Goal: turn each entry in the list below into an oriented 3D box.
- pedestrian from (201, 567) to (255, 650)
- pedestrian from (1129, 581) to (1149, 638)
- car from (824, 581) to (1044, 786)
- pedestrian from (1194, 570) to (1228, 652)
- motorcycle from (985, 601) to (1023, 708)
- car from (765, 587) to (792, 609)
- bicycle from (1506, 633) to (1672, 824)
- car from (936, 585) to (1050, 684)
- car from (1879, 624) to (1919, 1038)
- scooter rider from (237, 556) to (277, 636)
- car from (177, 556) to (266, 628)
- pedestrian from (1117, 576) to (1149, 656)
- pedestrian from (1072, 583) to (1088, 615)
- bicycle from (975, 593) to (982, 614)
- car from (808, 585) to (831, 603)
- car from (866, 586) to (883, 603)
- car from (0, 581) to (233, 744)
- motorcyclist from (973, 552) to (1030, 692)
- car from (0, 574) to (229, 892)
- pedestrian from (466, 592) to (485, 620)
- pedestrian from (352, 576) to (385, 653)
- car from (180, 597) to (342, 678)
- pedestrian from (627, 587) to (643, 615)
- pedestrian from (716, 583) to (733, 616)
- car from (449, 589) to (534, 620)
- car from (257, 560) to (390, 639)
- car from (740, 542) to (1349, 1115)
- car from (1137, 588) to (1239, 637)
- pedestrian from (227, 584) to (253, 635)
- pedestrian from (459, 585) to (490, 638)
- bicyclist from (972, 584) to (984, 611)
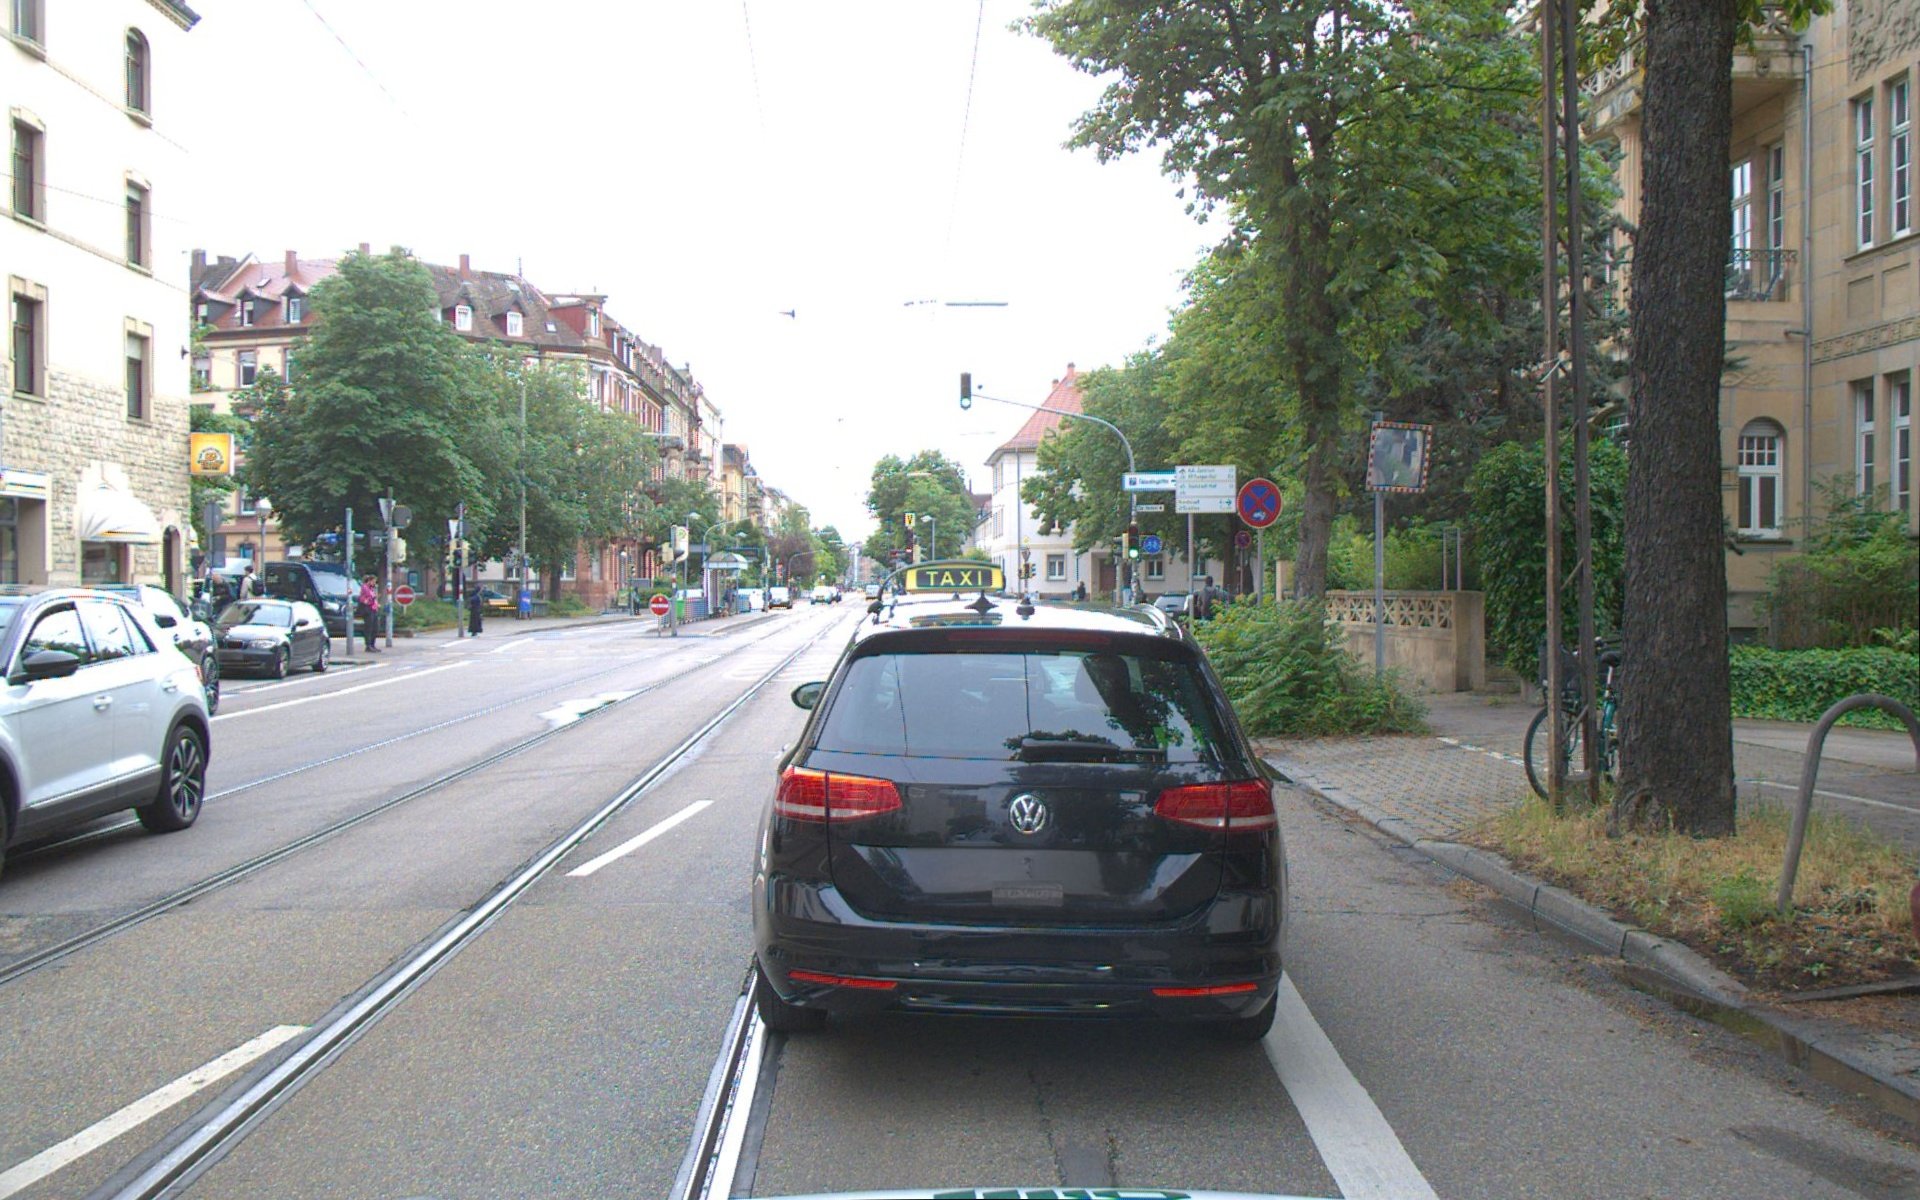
[{"bbox_3d":[-18.199,0.204,41.116,0.954,2.049,0.835,-1,0,-3],"label":"pedestrian"},{"bbox_3d":[5.935,0.306,54.780,0.504,1.862,0.418,-3,0,-2],"label":"pedestrian"},{"bbox_3d":[-0.280,0.623,14.708,1.689,1.573,3.998,0,0,-3],"label":"car"},{"bbox_3d":[5.709,0.239,37.659,0.619,1.846,0.725,0,0,-5],"label":"pedestrian"},{"bbox_3d":[0.542,0.656,20.762,0.437,1.257,1.907,0,0,1],"label":"motorcycle"},{"bbox_3d":[-12.861,-0.164,117.222,1.687,1.490,3.861,-1,0,-3],"label":"car"},{"bbox_3d":[4.409,0.843,11.511,0.425,1.219,1.892,0,-1,42],"label":"bicycle"},{"bbox_3d":[0.502,0.527,28.208,1.689,1.573,3.998,0,0,-3],"label":"car"},{"bbox_3d":[4.161,0.790,3.802,1.570,1.423,4.225,-2,1,-3],"label":"car"},{"bbox_3d":[-18.137,-0.101,42.704,0.740,2.049,0.644,0,0,-1],"label":"scooter rider"},{"bbox_3d":[-27.807,-0.301,62.175,2.160,2.571,5.316,-1,0,-34],"label":"car"},{"bbox_3d":[4.132,0.386,39.518,0.573,1.862,0.604,-3,0,-2],"label":"pedestrian"},{"bbox_3d":[5.984,-0.037,82.533,0.604,1.581,0.574,0,0,-42],"label":"pedestrian"},{"bbox_3d":[1.107,0.178,99.200,0.291,1.244,1.431,-1,0,5],"label":"bicycle"},{"bbox_3d":[-12.934,-0.542,152.588,1.758,1.624,4.000,-1,0,0],"label":"car"},{"bbox_3d":[-10.225,-0.668,197.832,1.992,2.049,3.998,1,0,-3],"label":"car"},{"bbox_3d":[-10.263,0.658,19.663,1.850,1.639,4.874,-3,1,-11],"label":"car"},{"bbox_3d":[0.515,0.271,20.787,0.688,1.722,0.804,0,0,0],"label":"motorcyclist"},{"bbox_3d":[-5.516,0.649,8.874,1.665,1.522,3.927,-1,1,-5],"label":"car"},{"bbox_3d":[-20.438,0.250,69.735,0.582,1.189,0.836,0,0,-31],"label":"pedestrian"},{"bbox_3d":[-14.489,0.353,40.549,0.611,1.875,0.609,0,0,-5],"label":"pedestrian"},{"bbox_3d":[-13.410,0.678,31.975,1.616,1.385,4.125,2,0,-5],"label":"car"},{"bbox_3d":[-17.912,0.044,91.223,0.577,1.547,0.647,0,0,33],"label":"pedestrian"},{"bbox_3d":[-11.052,-0.015,77.556,0.700,1.547,0.589,0,0,-1],"label":"pedestrian"},{"bbox_3d":[-25.365,0.233,89.572,3.967,1.624,1.969,-1,1,-43],"label":"car"},{"bbox_3d":[-20.921,-0.029,54.264,2.170,2.459,5.292,-1,0,-45],"label":"car"},{"bbox_3d":[0.156,0.612,6.577,1.689,1.573,3.998,0,0,-3],"label":"car"},{"bbox_3d":[7.134,0.360,51.484,1.856,1.432,3.994,-1,1,29],"label":"car"},{"bbox_3d":[-25.182,0.326,57.845,0.694,1.745,0.543,0,0,-43],"label":"pedestrian"},{"bbox_3d":[-15.748,0.374,53.638,0.819,1.692,0.591,0,0,-1],"label":"pedestrian"},{"bbox_3d":[1.099,-0.140,99.265,0.637,1.595,0.696,-1,0,4],"label":"bicyclist"}]
